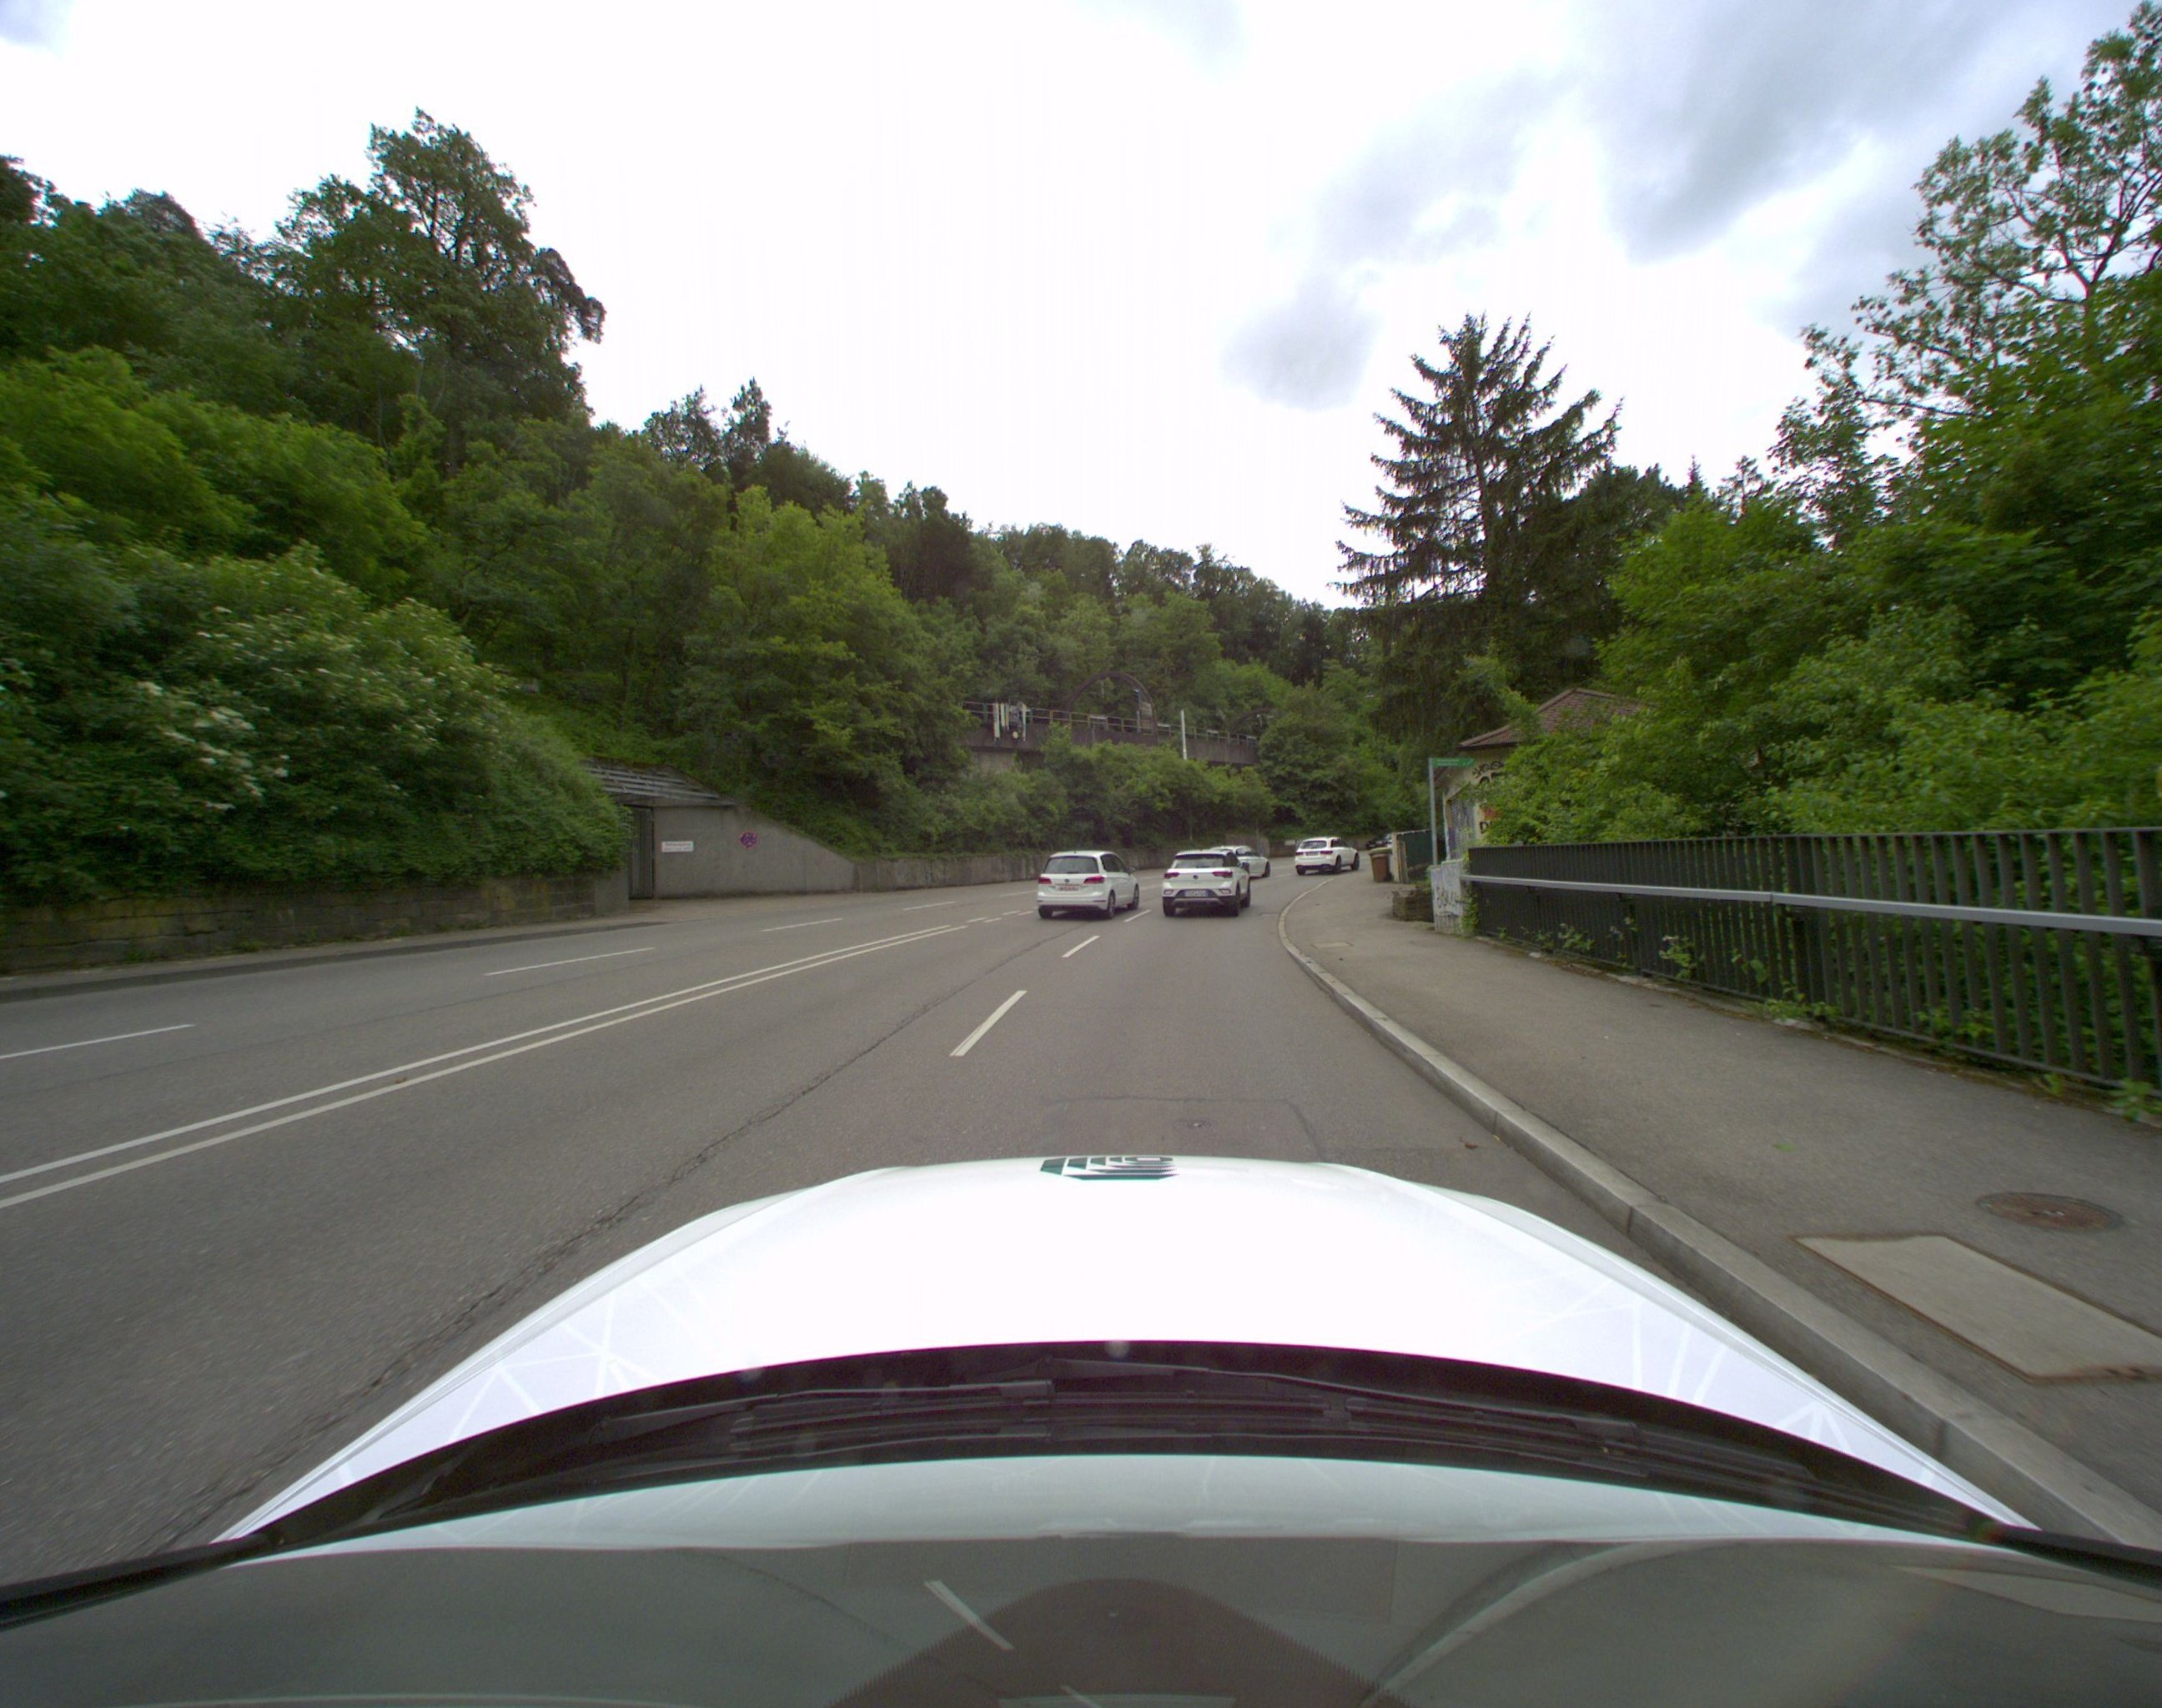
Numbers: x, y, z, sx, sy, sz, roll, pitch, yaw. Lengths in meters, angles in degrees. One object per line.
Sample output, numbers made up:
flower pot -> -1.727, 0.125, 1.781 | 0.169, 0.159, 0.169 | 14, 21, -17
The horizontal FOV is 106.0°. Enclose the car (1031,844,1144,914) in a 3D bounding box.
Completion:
car -> 0.296, 0.627, 20.260 | 1.707, 1.554, 4.292 | 0, -2, 16

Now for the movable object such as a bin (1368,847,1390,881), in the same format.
movable object such as a bin -> 10.266, 0.342, 28.027 | 0.598, 1.060, 0.482 | -6, 1, 19

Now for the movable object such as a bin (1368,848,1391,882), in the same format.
movable object such as a bin -> 10.070, 0.364, 27.481 | 0.598, 1.060, 0.482 | -6, 1, 19

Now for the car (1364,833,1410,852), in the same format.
car -> 25.971, -0.998, 69.144 | 4.021, 1.486, 1.892 | -3, 0, -40

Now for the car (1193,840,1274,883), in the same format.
car -> 6.578, 0.254, 34.770 | 1.975, 1.557, 4.710 | 2, 3, 29

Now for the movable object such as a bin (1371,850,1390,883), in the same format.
movable object such as a bin -> 9.904, 0.407, 26.935 | 0.495, 1.008, 0.442 | -6, 1, 19

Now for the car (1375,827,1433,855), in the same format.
car -> 21.863, -0.845, 55.035 | 4.328, 1.519, 1.727 | 4, -4, -38

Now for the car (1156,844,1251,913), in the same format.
car -> 3.164, 0.621, 20.355 | 1.800, 1.539, 4.025 | -1, -2, 16

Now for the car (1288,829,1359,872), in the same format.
car -> 11.086, -0.168, 37.043 | 1.974, 1.843, 4.176 | -1, 0, 33
